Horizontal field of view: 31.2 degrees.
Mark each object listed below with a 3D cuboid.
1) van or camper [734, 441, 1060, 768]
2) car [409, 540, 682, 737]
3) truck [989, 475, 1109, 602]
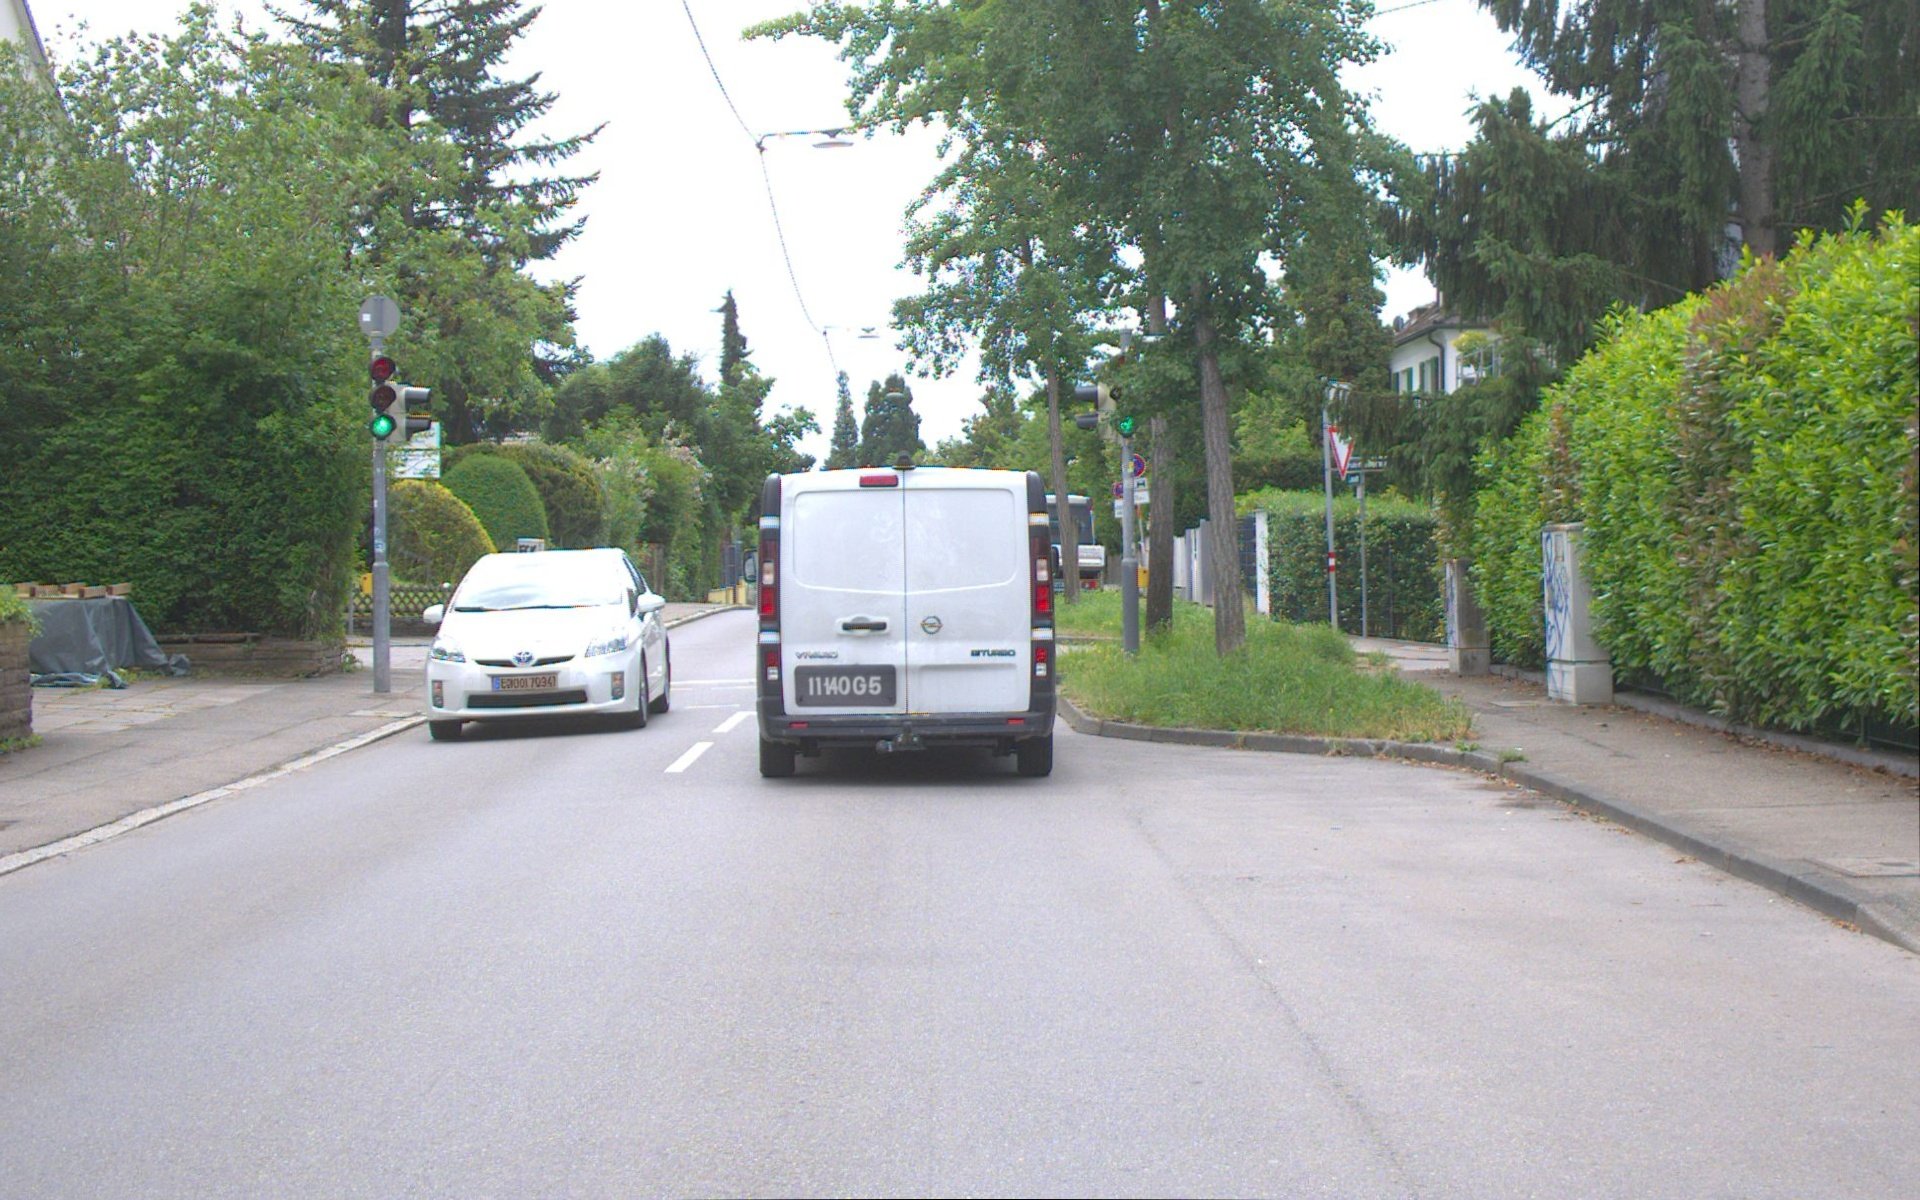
[{"bbox_3d":[-0.419,0.031,22.930,1.939,1.947,4.765,0,0,-1],"label":"van or camper"},{"bbox_3d":[-3.416,0.264,29.044,1.854,1.446,4.282,-3,1,-2],"label":"car"},{"bbox_3d":[1.778,-1.266,70.971,2.187,2.463,7.431,0,1,-1],"label":"truck"}]
